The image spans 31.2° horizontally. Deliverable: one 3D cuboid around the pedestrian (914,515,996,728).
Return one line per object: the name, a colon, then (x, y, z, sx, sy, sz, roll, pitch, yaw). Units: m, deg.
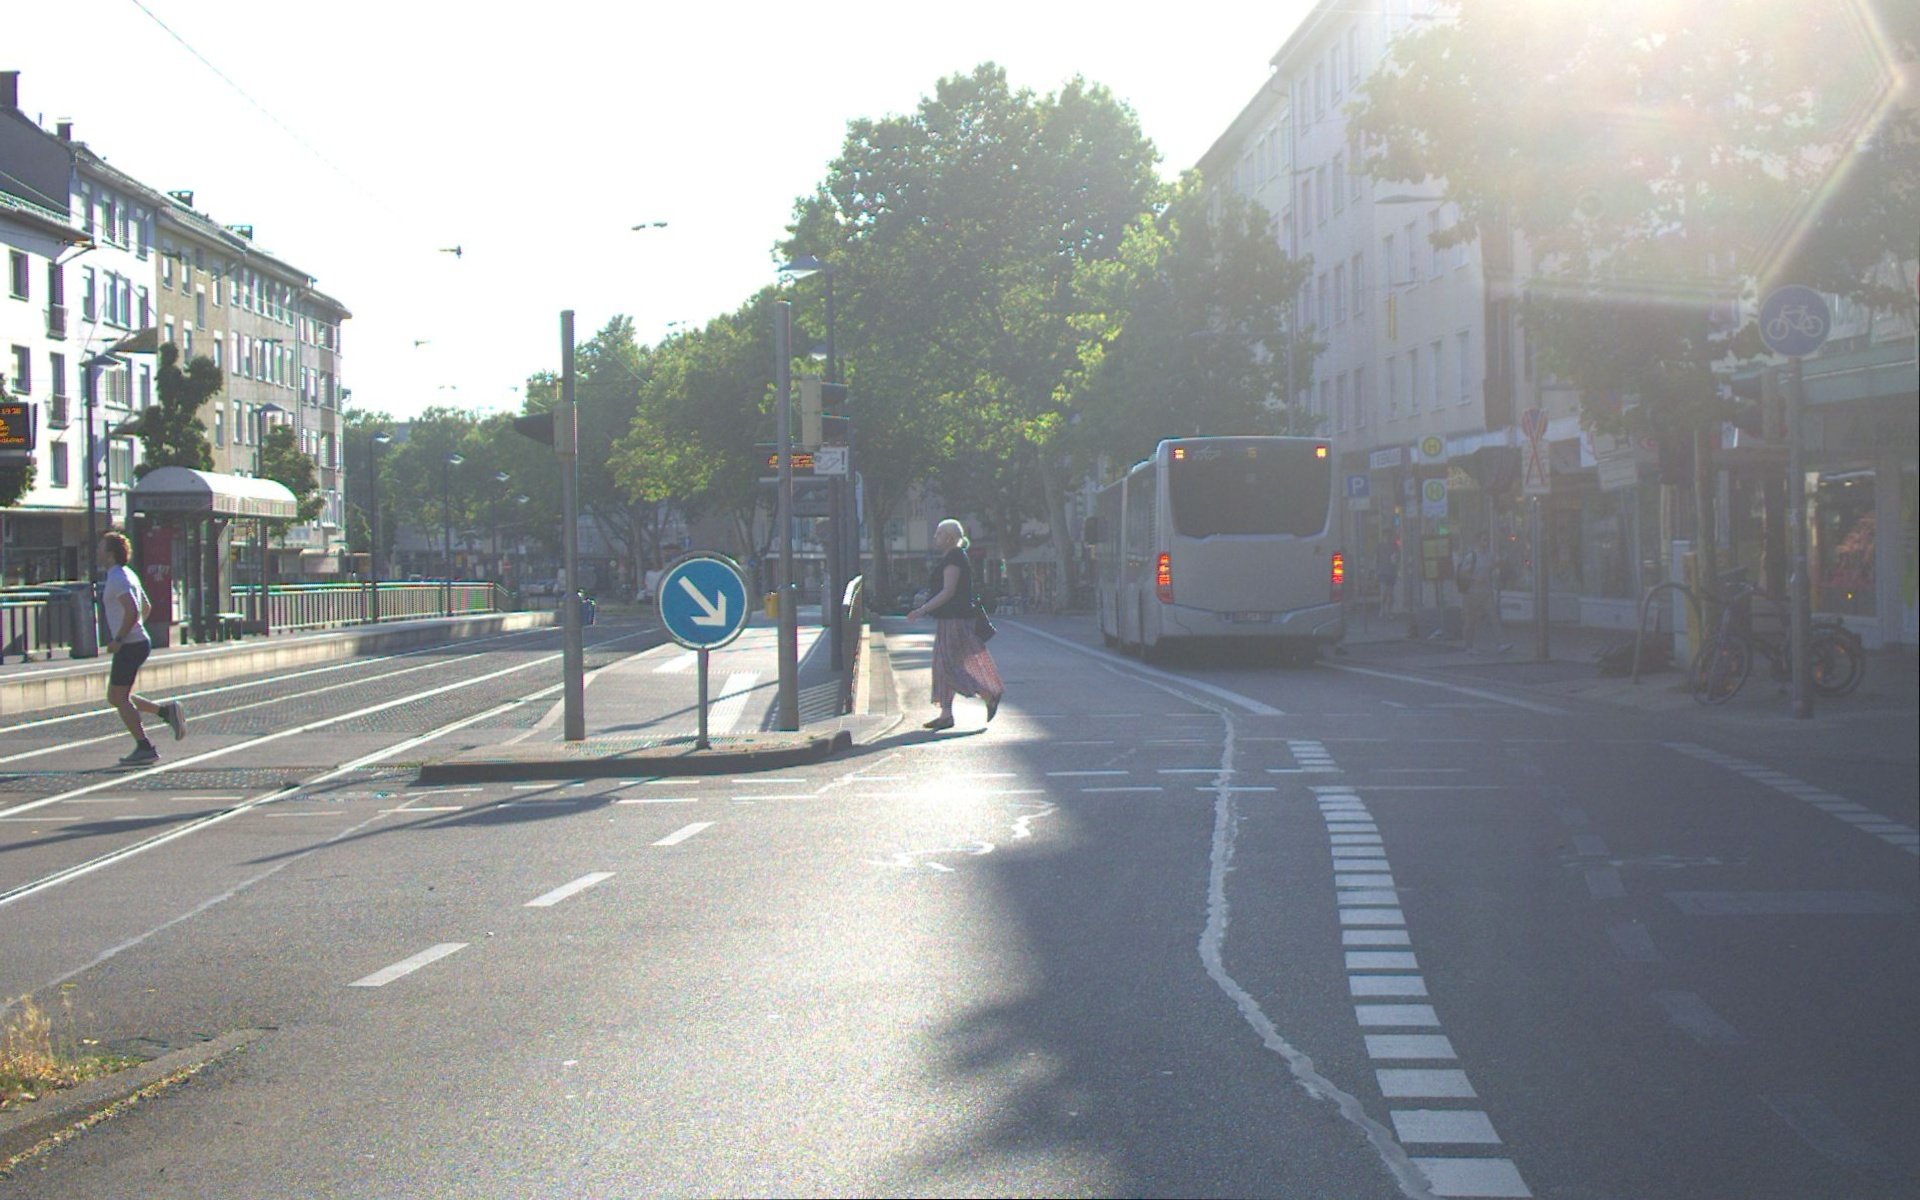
pedestrian: (-0.041, 0.172, 28.829, 0.680, 1.764, 0.687, 0, 1, 0)

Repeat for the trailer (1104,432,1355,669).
trailer: (3.762, -0.713, 50.033, 2.812, 3.100, 8.795, 1, 1, -1)

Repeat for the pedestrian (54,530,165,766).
pedestrian: (-6.477, 0.354, 26.212, 0.680, 1.764, 0.687, -1, 1, -4)

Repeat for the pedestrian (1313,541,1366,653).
pedestrian: (5.556, -0.049, 50.369, 0.676, 1.622, 0.655, 1, 1, 0)

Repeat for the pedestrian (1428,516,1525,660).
pedestrian: (7.301, -0.178, 48.641, 0.953, 2.007, 0.917, 1, 1, -29)

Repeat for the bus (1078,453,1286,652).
bus: (3.668, -0.810, 58.956, 2.812, 3.091, 9.095, 1, 1, -1)

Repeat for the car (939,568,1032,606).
car: (1.186, -0.605, 158.524, 3.889, 1.693, 1.833, -2, 1, -29)

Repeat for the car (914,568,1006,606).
car: (0.004, -0.604, 161.328, 3.889, 1.693, 1.833, -2, 1, -29)

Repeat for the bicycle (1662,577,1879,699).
bicycle: (7.373, 0.339, 31.329, 1.772, 1.018, 0.694, -2, 1, -1)
